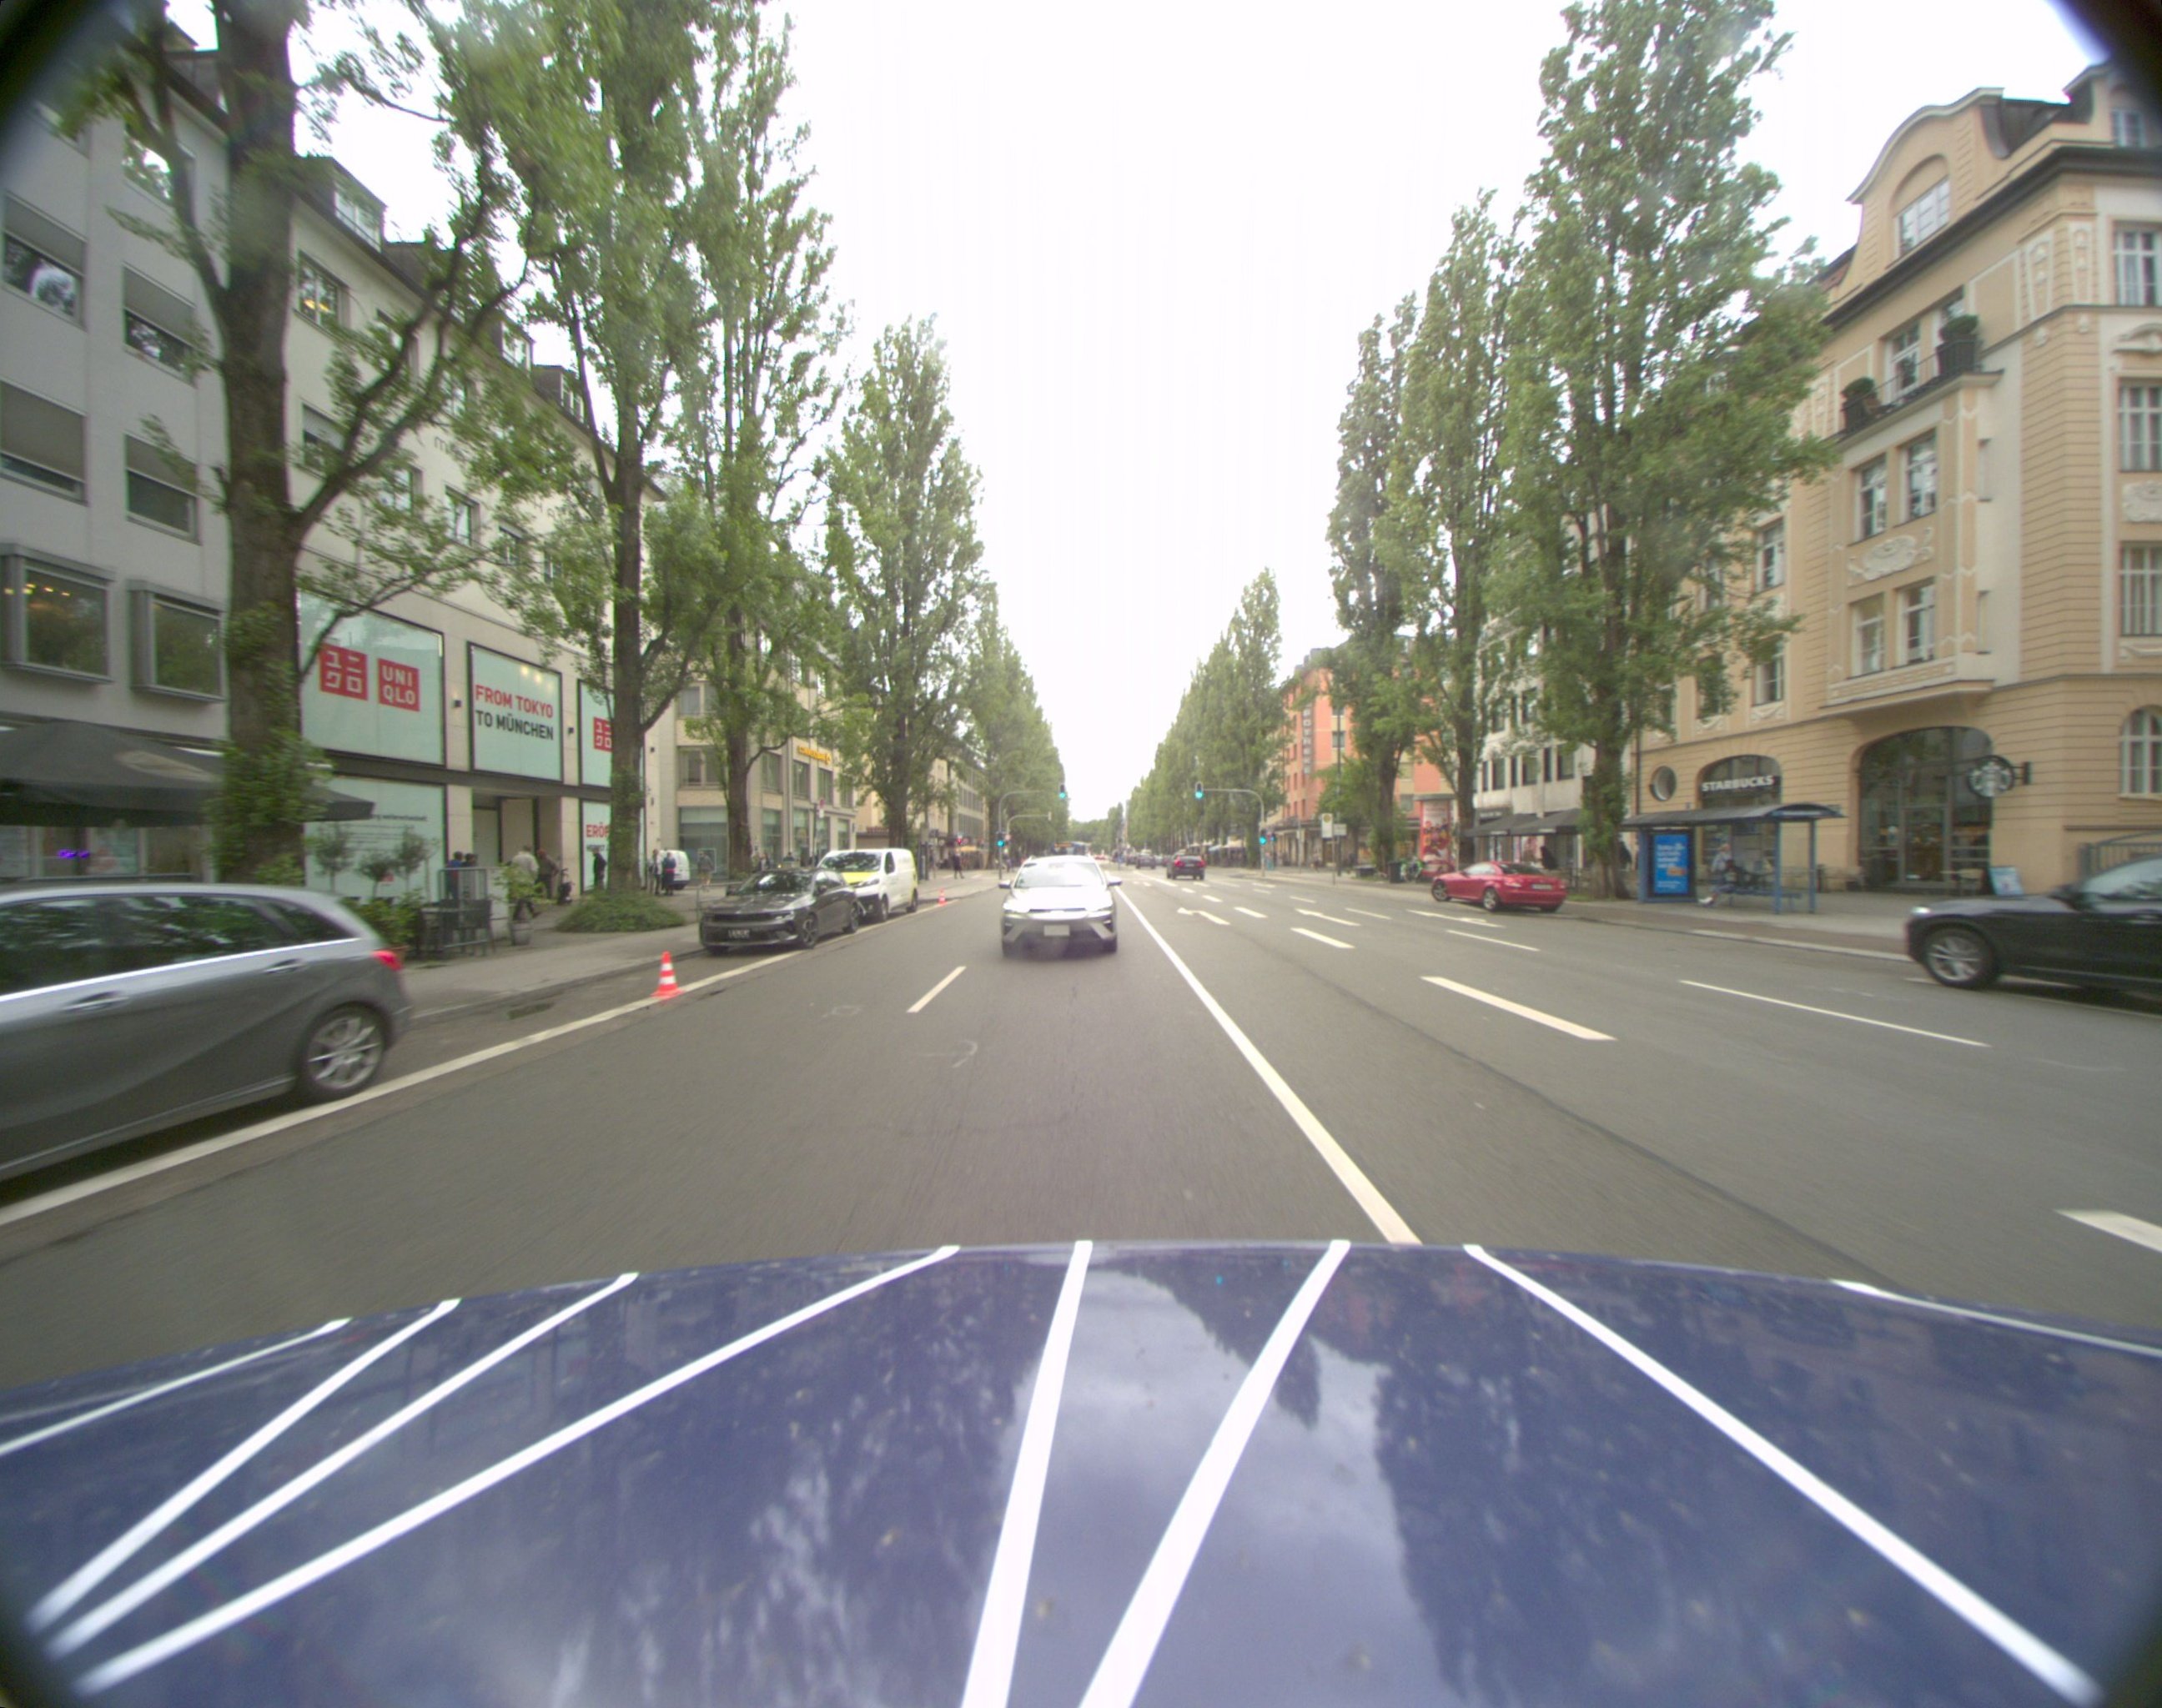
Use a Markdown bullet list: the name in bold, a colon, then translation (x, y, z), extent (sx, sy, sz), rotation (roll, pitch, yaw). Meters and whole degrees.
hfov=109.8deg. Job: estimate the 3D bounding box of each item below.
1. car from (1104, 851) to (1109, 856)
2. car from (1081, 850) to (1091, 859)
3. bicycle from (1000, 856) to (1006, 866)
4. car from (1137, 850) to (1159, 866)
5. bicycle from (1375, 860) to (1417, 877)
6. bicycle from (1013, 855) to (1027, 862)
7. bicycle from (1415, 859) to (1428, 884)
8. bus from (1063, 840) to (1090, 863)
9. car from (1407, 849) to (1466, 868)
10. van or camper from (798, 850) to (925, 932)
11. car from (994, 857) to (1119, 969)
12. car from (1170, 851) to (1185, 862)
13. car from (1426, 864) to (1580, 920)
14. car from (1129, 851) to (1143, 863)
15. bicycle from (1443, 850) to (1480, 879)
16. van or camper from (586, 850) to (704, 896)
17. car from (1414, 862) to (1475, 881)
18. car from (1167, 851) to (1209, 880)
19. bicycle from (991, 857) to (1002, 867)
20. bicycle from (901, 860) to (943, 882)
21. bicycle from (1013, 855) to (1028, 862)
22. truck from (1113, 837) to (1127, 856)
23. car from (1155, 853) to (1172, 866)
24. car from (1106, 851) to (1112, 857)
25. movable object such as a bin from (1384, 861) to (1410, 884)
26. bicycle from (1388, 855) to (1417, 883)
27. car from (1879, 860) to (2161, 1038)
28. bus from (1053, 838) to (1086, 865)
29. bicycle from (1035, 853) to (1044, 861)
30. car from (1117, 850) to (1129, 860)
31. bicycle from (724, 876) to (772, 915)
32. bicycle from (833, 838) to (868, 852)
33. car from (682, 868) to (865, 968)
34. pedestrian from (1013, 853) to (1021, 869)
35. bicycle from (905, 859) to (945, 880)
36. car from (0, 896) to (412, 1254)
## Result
- **car**: translation (8.693, -0.212, 259.270), extent (1.848, 1.626, 4.575), rotation (1, 0, 1)
- **car**: translation (1.029, 0.022, 151.412), extent (2.052, 1.671, 4.586), rotation (1, 0, 0)
- **bicycle**: translation (-8.656, 0.805, 84.655), extent (0.510, 1.042, 1.770), rotation (0, 0, -1)
- **car**: translation (7.058, 0.388, 80.232), extent (1.918, 1.671, 4.586), rotation (1, 0, 0)
- **bicycle**: translation (16.801, 0.767, 40.528), extent (1.955, 0.510, 0.826), rotation (-2, 22, -17)
- **bicycle**: translation (-8.494, 0.667, 105.974), extent (2.005, 0.939, 0.286), rotation (-1, 1, -7)
- **bicycle**: translation (15.977, 0.833, 35.673), extent (0.507, 1.082, 1.812), rotation (-2, 1, 24)
- **bus**: translation (-0.483, -0.305, 100.674), extent (2.805, 2.886, 12.860), rotation (-1, 0, 3)
- **car**: translation (28.987, 0.355, 62.075), extent (3.994, 1.412, 1.783), rotation (-2, 1, 9)
- **van or camper**: translation (-5.650, 0.865, 20.279), extent (1.873, 1.872, 4.902), rotation (-1, 0, 0)
- **car**: translation (-0.336, 0.844, 12.713), extent (1.758, 1.529, 3.916), rotation (0, 0, 0)
- **car**: translation (12.546, 0.319, 98.655), extent (1.497, 1.373, 4.186), rotation (1, 1, 1)
- **car**: translation (11.424, 0.970, 20.943), extent (1.884, 1.290, 4.093), rotation (0, 0, -2)
- **car**: translation (7.492, 0.382, 103.591), extent (1.565, 1.487, 3.694), rotation (0, 0, 0)
- **bicycle**: translation (17.983, 0.490, 35.892), extent (1.957, 1.293, 0.584), rotation (-1, 1, -31)
- **van or camper**: translation (-19.270, 0.809, 33.682), extent (4.113, 1.856, 1.898), rotation (-2, 1, 5)
- **car**: translation (28.598, 1.354, 59.867), extent (3.994, 1.412, 1.783), rotation (-1, 1, 9)
- **car**: translation (6.479, 0.667, 46.332), extent (1.940, 1.614, 4.336), rotation (1, 0, 0)
- **bicycle**: translation (-9.079, 0.875, 82.097), extent (0.405, 1.064, 1.813), rotation (-6, 0, 17)
- **bicycle**: translation (-9.492, 1.000, 45.419), extent (2.349, 1.245, 0.633), rotation (-1, 1, 0)
- **bicycle**: translation (-8.416, 0.626, 105.646), extent (2.005, 1.077, 0.286), rotation (-1, 1, -9)
- **truck**: translation (7.880, -1.536, 154.657), extent (2.469, 3.649, 8.438), rotation (-1, 1, 1)
- **car**: translation (9.969, 0.663, 92.102), extent (1.646, 1.431, 3.997), rotation (0, 0, 0)
- **car**: translation (8.737, 0.007, 238.253), extent (1.848, 1.626, 4.575), rotation (1, 0, 1)
- **movable object such as a bin**: translation (15.131, 0.871, 36.370), extent (0.725, 1.035, 0.853), rotation (-3, 1, -28)
- **bicycle**: translation (15.982, 0.715, 37.699), extent (1.958, 1.282, 0.507), rotation (-3, 1, -42)
- **car**: translation (10.962, 0.902, 7.209), extent (1.825, 1.608, 4.715), rotation (0, 0, 0)
- **bus**: translation (-1.181, -0.258, 87.854), extent (2.805, 2.886, 12.860), rotation (-1, 0, 4)
- **bicycle**: translation (-7.913, 0.605, 144.407), extent (0.829, 1.403, 2.594), rotation (-2, 0, -25)
- **car**: translation (7.274, 0.103, 132.649), extent (1.889, 1.736, 4.439), rotation (-1, 0, 1)
- **bicycle**: translation (-9.537, 1.164, 21.808), extent (0.365, 1.032, 1.731), rotation (-1, 0, 9)
- **bicycle**: translation (-21.752, -0.856, 71.774), extent (2.978, 1.245, 0.999), rotation (-2, 1, 0)
- **car**: translation (-5.576, 1.080, 14.438), extent (1.724, 1.434, 4.353), rotation (-3, 0, -1)
- **pedestrian**: translation (-6.609, 0.685, 78.024), extent (0.767, 1.600, 0.864), rotation (-1, 1, -3)
- **bicycle**: translation (-9.486, 0.955, 46.154), extent (2.321, 1.245, 0.477), rotation (-1, 1, 0)
- **car**: translation (-5.833, 1.078, 3.523), extent (1.821, 1.497, 4.231), rotation (0, 0, -3)
